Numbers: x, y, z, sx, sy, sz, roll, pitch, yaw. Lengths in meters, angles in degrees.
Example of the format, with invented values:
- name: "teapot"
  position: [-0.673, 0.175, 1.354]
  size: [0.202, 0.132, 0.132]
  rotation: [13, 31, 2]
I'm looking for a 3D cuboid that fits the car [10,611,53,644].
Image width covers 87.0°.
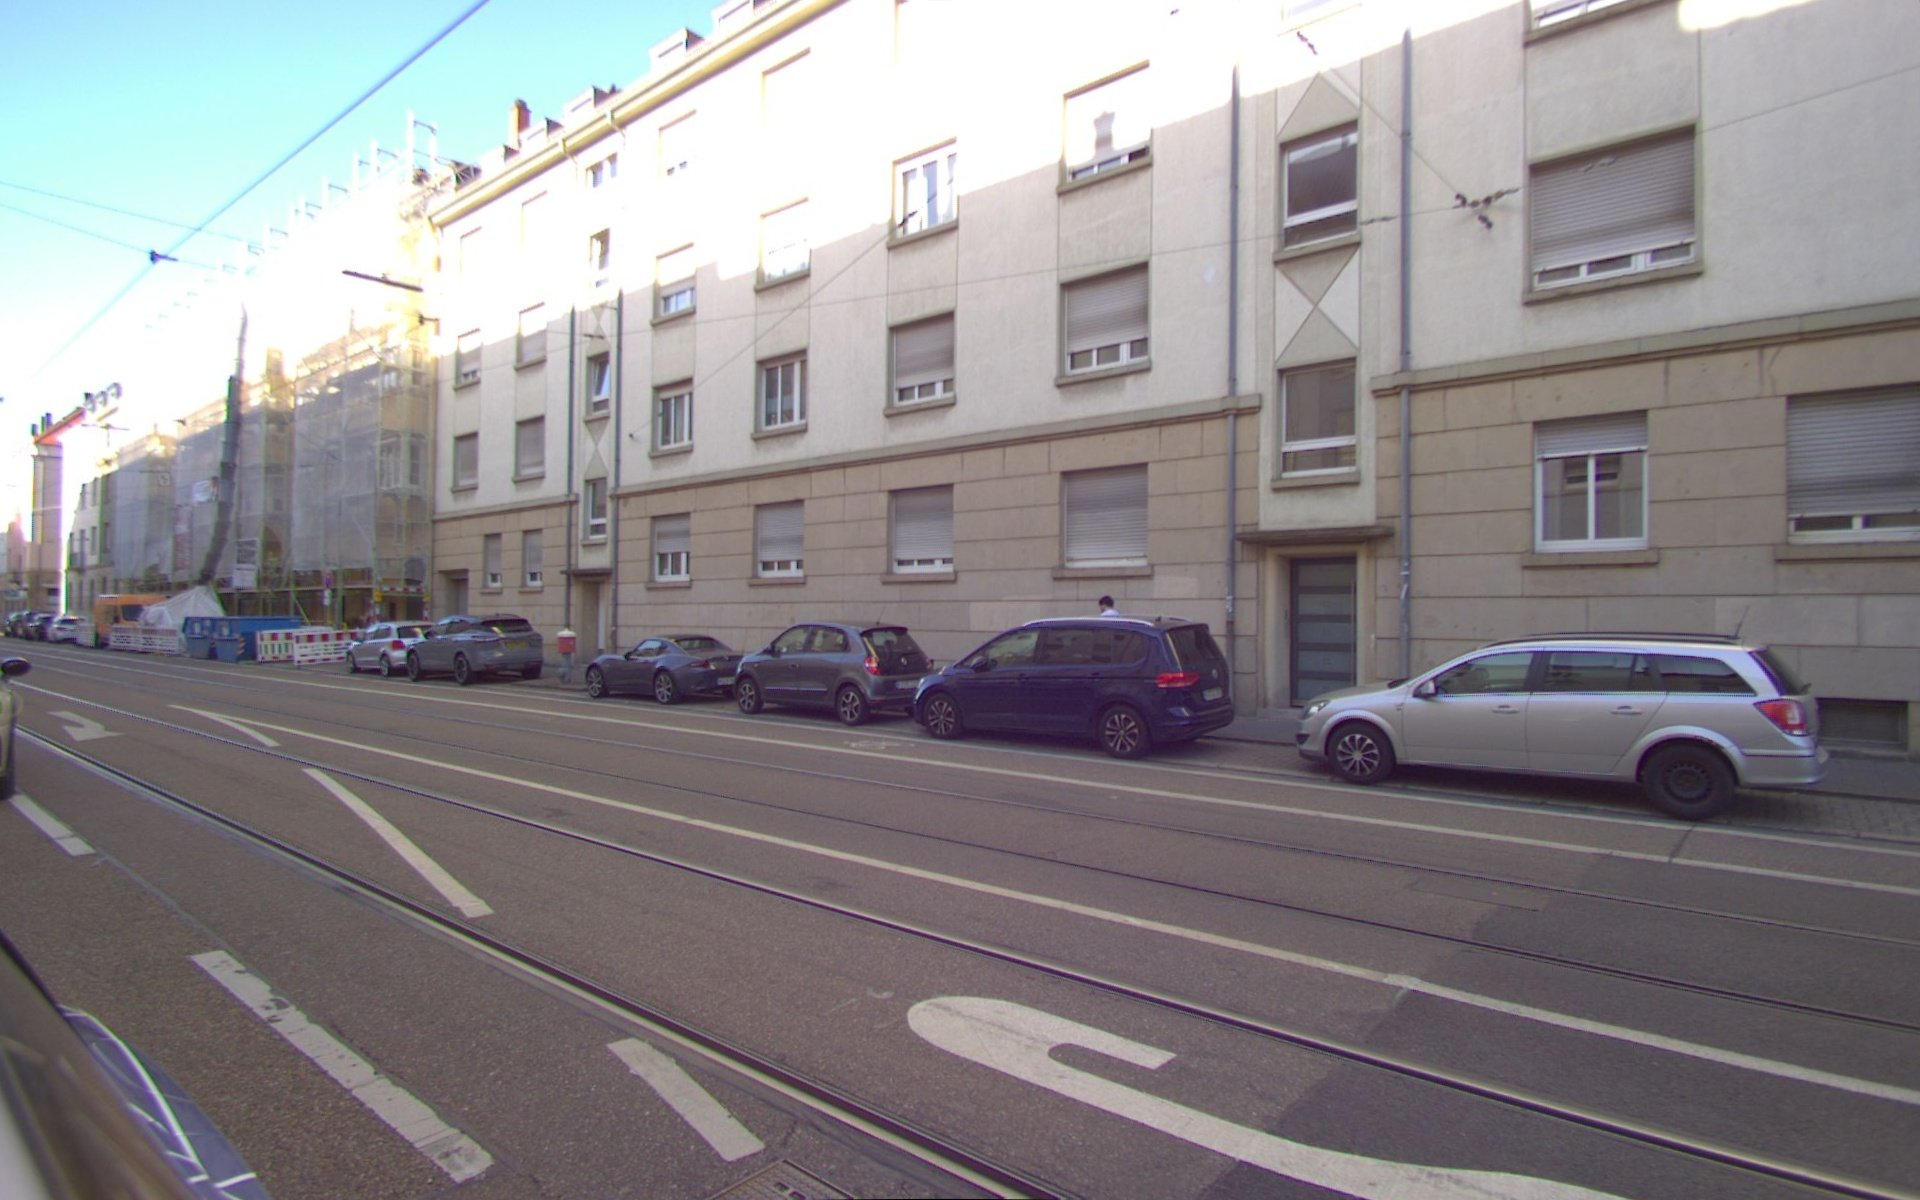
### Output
- name: "car"
  position: [-59.391, 1.720, 64.703]
  size: [4.182, 1.971, 1.550]
  rotation: [0, 0, 41]

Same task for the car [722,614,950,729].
- name: "car"
  position: [-2.061, 1.057, 16.287]
  size: [3.593, 1.570, 1.623]
  rotation: [0, 1, 40]

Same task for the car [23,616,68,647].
- name: "car"
  position: [-54.689, 1.861, 60.481]
  size: [3.935, 1.696, 1.550]
  rotation: [0, 0, 41]

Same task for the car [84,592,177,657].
- name: "car"
  position: [-36.863, 1.022, 44.913]
  size: [5.870, 2.717, 2.187]
  rotation: [0, 0, 41]

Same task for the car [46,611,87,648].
- name: "car"
  position: [-50.042, 1.630, 56.672]
  size: [1.634, 1.937, 3.769]
  rotation: [-1, 0, -42]

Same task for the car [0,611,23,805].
- name: "car"
  position: [-9.023, 0.835, 8.241]
  size: [3.816, 1.436, 1.705]
  rotation: [-2, -3, 42]

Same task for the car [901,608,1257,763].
- name: "car"
  position: [1.436, 0.951, 13.171]
  size: [4.320, 1.645, 1.797]
  rotation: [0, 1, 39]

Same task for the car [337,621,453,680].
- name: "car"
  position: [-15.377, 1.324, 27.500]
  size: [3.504, 1.390, 1.545]
  rotation: [0, 1, 39]

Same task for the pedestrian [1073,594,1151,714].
- name: "pedestrian"
  position: [2.329, 0.799, 15.527]
  size: [1.003, 1.781, 0.657]
  rotation: [0, 0, 33]

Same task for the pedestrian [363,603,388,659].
- name: "pedestrian"
  position: [-19.881, 1.041, 34.420]
  size: [0.762, 1.886, 0.512]
  rotation: [0, 0, 40]

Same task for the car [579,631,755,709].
- name: "car"
  position: [-5.613, 1.264, 19.232]
  size: [3.520, 1.229, 1.458]
  rotation: [0, 1, 39]

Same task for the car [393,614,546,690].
- name: "car"
  position: [-12.013, 1.193, 24.681]
  size: [4.155, 1.621, 1.730]
  rotation: [0, 1, 39]

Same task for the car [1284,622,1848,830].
- name: "car"
  position: [5.568, 1.000, 9.727]
  size: [4.366, 1.465, 1.708]
  rotation: [0, 1, 39]
